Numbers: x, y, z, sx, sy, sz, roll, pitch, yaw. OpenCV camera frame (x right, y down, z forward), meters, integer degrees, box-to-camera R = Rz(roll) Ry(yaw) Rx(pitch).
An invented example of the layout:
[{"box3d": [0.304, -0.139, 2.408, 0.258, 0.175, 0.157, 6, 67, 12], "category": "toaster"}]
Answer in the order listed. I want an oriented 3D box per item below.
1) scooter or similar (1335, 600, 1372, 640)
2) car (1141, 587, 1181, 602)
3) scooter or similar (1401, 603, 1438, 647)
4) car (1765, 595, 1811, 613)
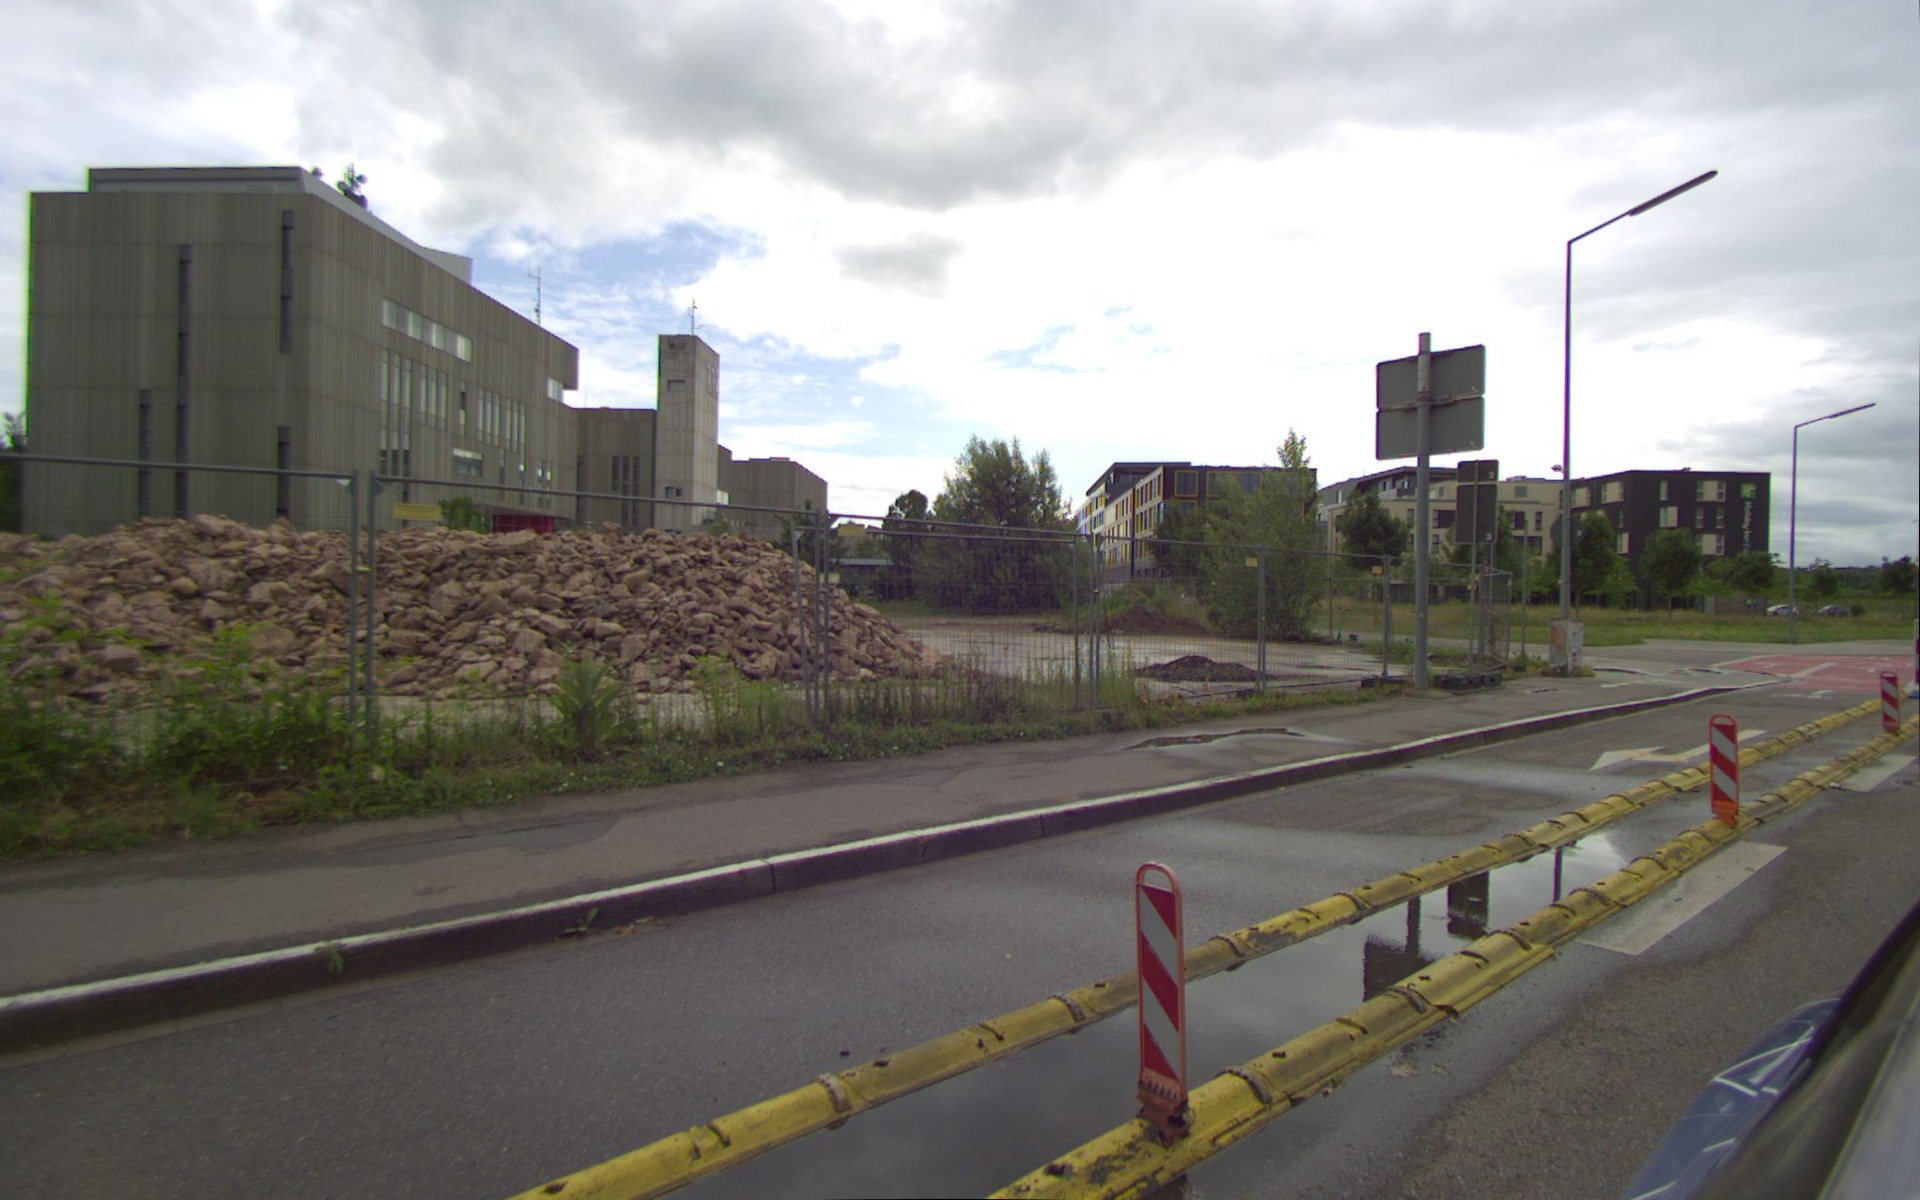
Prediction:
[{"box3d": [12.329, 0.626, 31.743, 0.436, 1.200, 1.176, 1, 0, -15], "category": "scooter or similar"}, {"box3d": [20.802, -0.574, 104.932, 3.931, 1.349, 1.560, 1, 1, 7], "category": "car"}, {"box3d": [13.176, 0.692, 29.065, 0.437, 1.200, 1.326, 1, 0, 0], "category": "scooter or similar"}, {"box3d": [101.597, 0.476, 124.227, 3.925, 2.039, 1.999, 1, 1, 1], "category": "car"}]
